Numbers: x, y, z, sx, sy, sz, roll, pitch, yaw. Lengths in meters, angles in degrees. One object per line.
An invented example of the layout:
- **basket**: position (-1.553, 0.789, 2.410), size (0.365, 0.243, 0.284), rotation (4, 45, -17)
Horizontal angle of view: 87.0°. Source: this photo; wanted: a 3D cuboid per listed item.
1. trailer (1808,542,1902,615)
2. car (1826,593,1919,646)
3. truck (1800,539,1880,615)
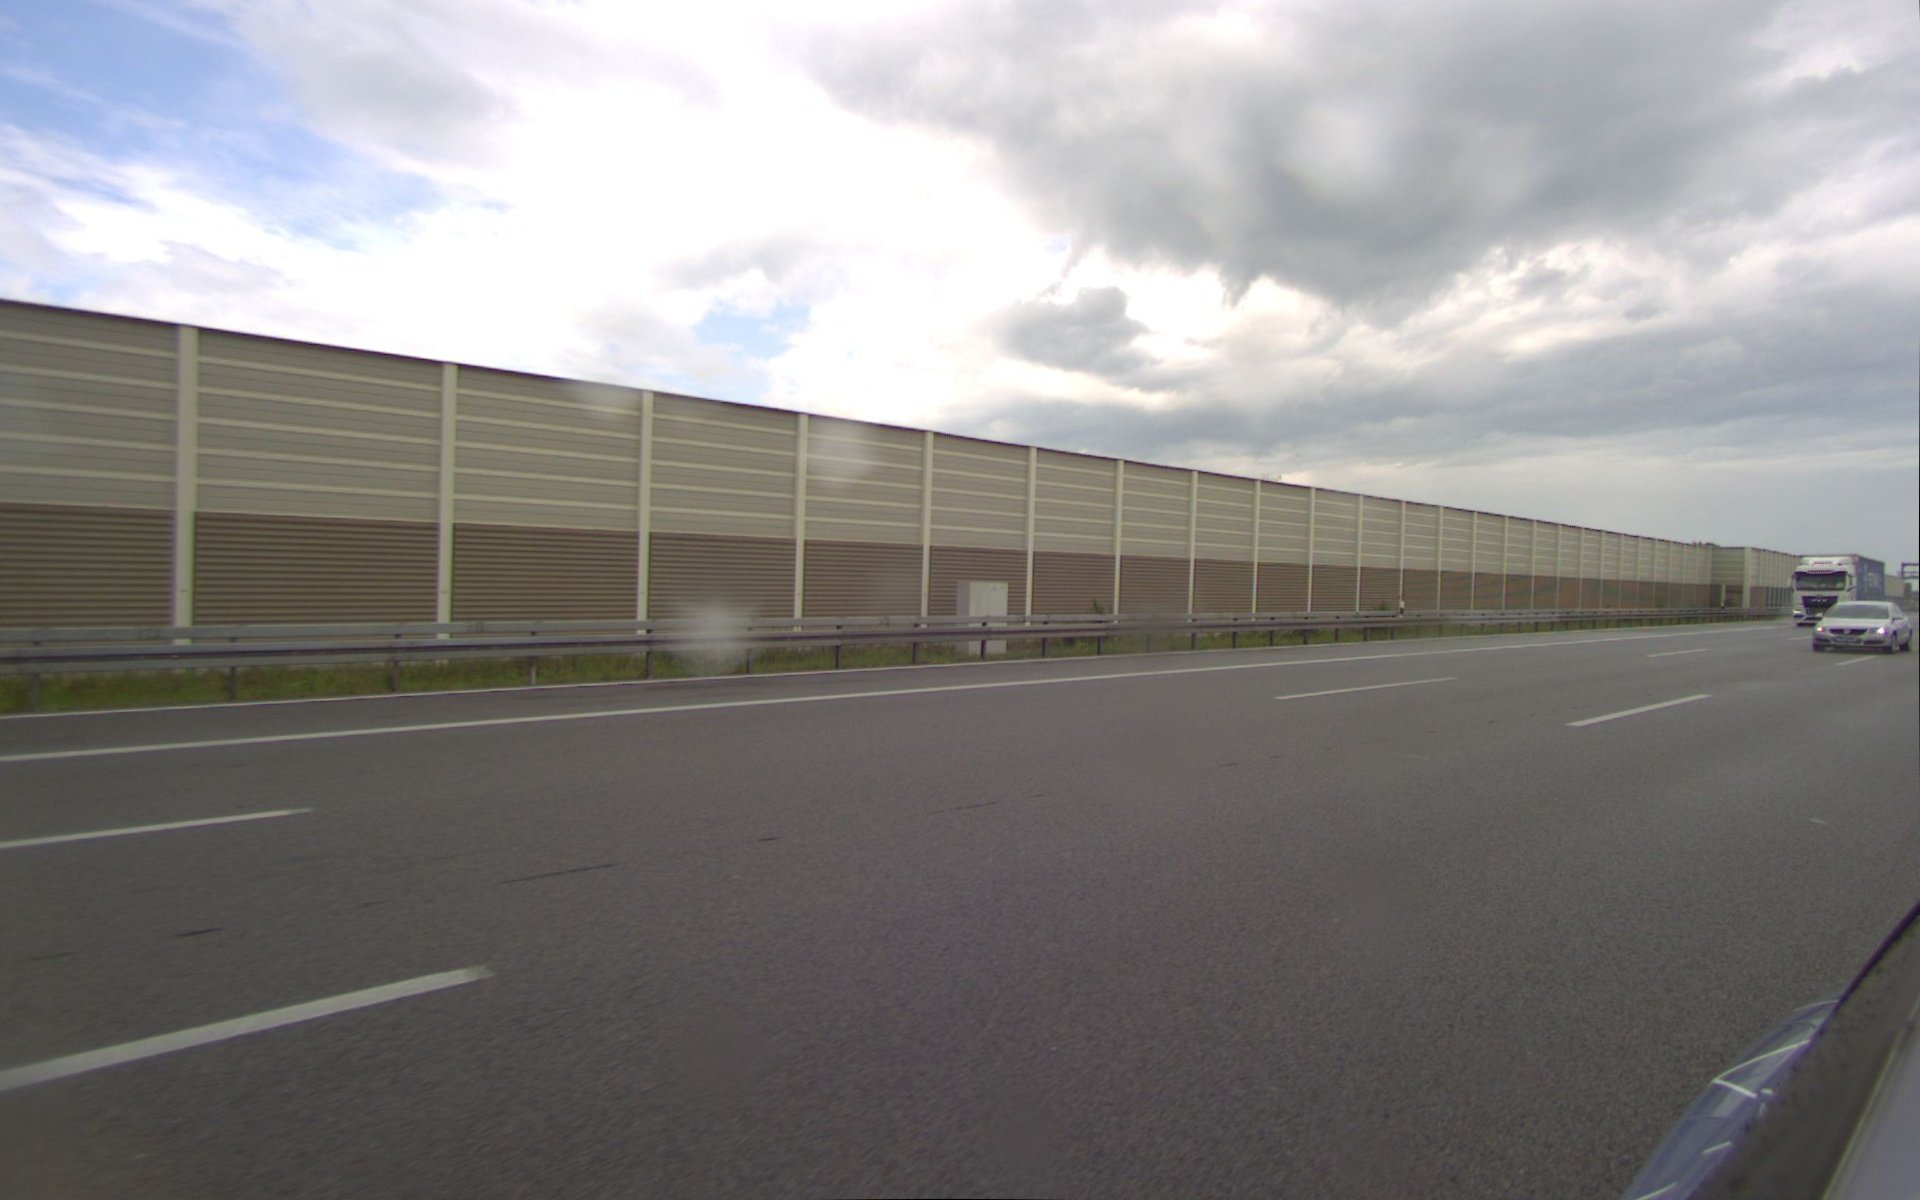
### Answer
- **trailer**: position (55.368, -1.165, 62.428), size (14.204, 4.083, 2.765), rotation (0, 0, -42)
- **car**: position (26.568, 0.528, 29.351), size (3.931, 1.420, 1.730), rotation (1, 0, -42)
- **truck**: position (50.245, -1.244, 57.751), size (5.627, 4.086, 2.749), rotation (1, 0, -42)
